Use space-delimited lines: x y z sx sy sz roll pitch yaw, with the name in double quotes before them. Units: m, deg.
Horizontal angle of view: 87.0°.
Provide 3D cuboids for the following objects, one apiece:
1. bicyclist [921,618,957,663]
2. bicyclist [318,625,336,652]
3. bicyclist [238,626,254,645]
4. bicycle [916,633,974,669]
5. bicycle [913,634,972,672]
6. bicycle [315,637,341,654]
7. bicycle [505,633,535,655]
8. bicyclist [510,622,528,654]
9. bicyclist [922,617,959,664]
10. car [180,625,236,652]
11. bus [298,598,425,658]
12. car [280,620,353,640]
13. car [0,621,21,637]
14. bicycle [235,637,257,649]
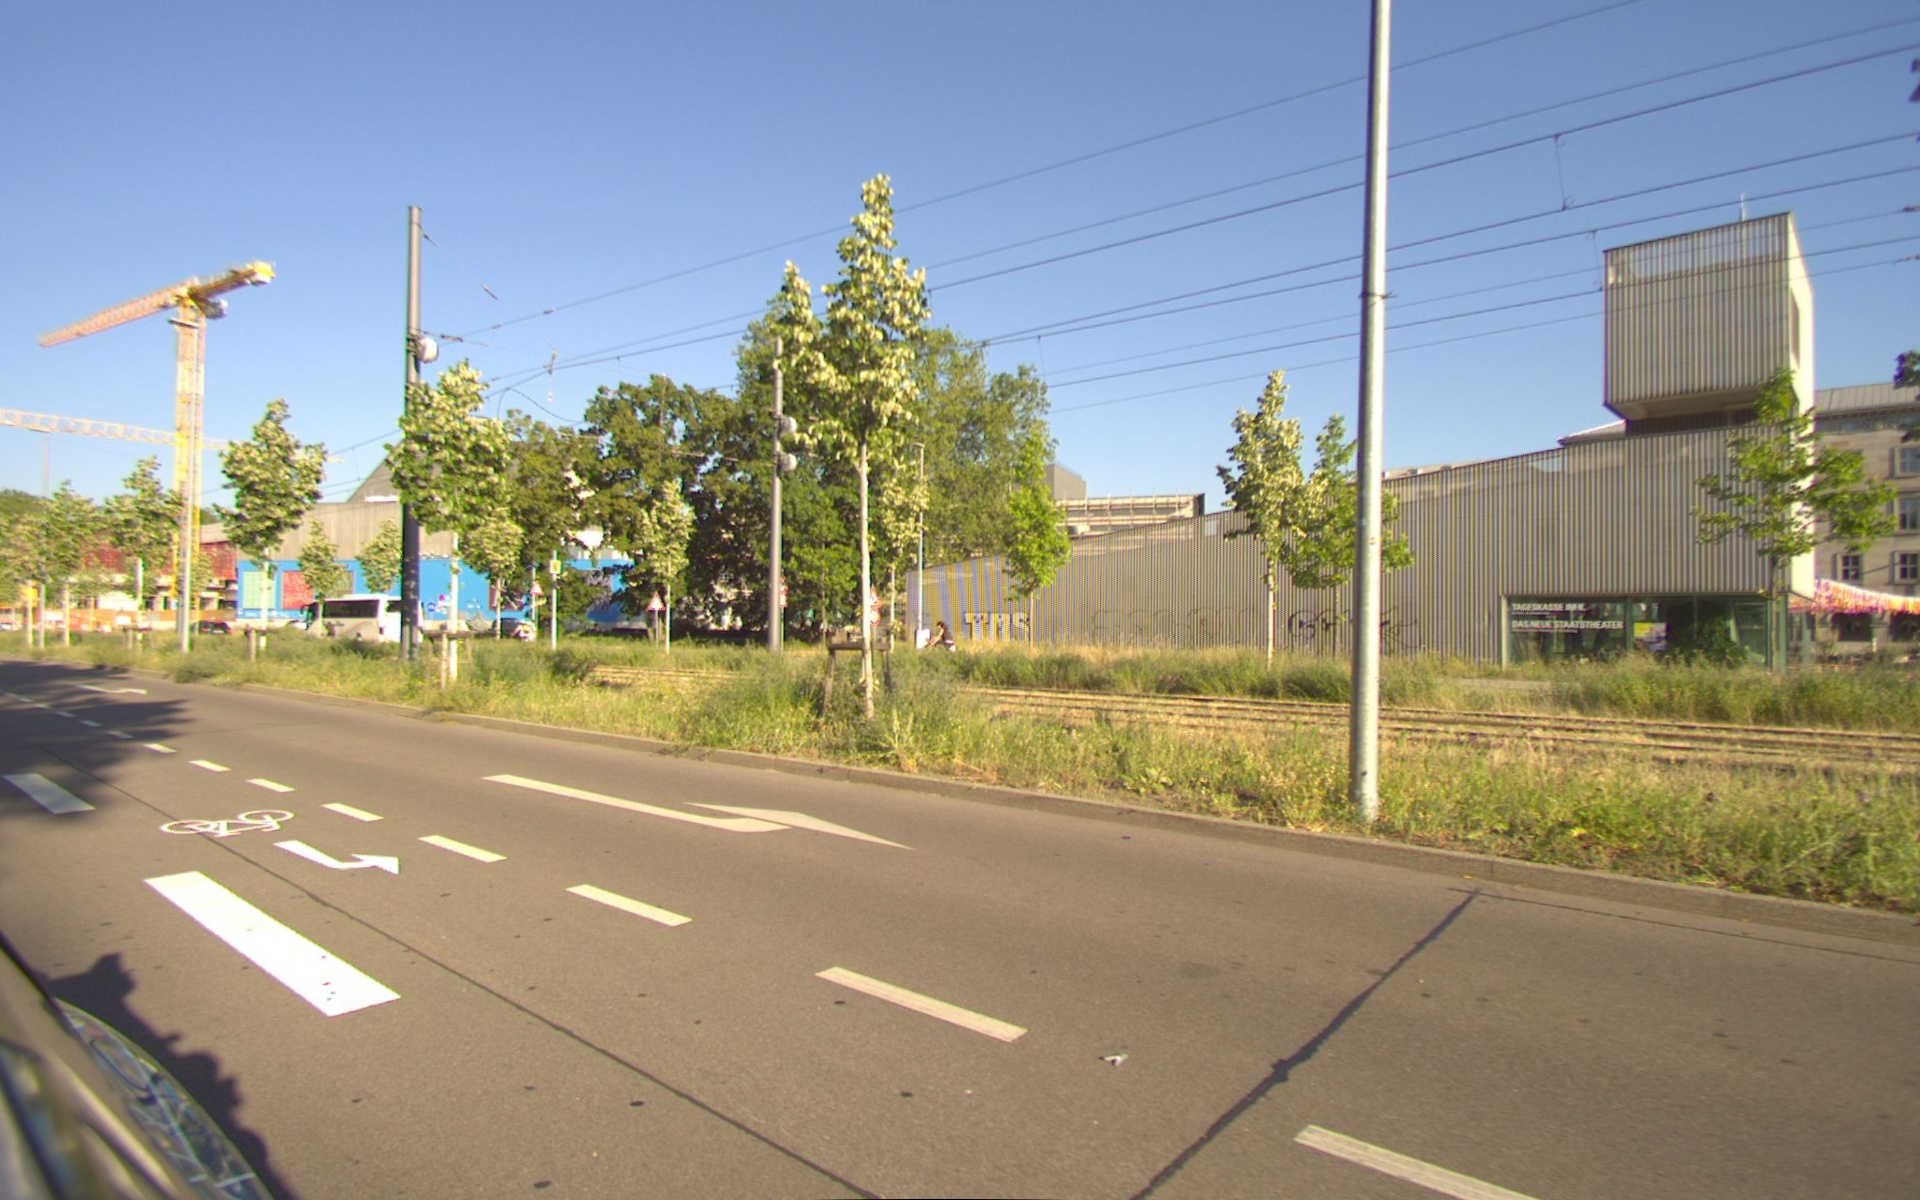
"bicyclist" -0.691 1.304 32.783 1.075 1.453 0.577 -1 -2 41
"bicyclist" -39.895 2.420 63.813 0.953 1.721 0.681 -1 -2 40
"bicyclist" -50.889 2.502 72.132 0.870 1.357 0.681 -1 -2 38
"bicycle" -0.507 1.638 32.626 1.986 1.113 0.577 -1 -2 41
"bicycle" -0.569 1.648 31.757 1.986 1.113 0.577 -1 -2 41
"bicycle" -39.796 2.870 63.717 2.359 1.010 0.680 -1 -2 40
"bicycle" -21.383 2.136 49.173 1.897 1.068 0.553 -1 -2 40
"bicyclist" -21.434 1.841 49.222 0.667 1.518 0.551 -1 -2 40
"bicyclist" -0.612 1.259 31.798 1.075 1.453 0.577 -1 -2 41
"car" -50.888 2.600 68.449 4.807 1.779 1.852 -1 -2 39
"bus" -39.597 1.815 66.683 12.680 3.622 2.772 -1 -2 38
"car" -58.202 2.705 91.661 2.121 1.730 5.179 -1 -2 36
"car" -99.713 3.036 105.543 4.161 1.655 1.975 -1 -2 38
"bicycle" -50.817 3.052 72.060 2.142 0.810 0.681 -1 -2 38
